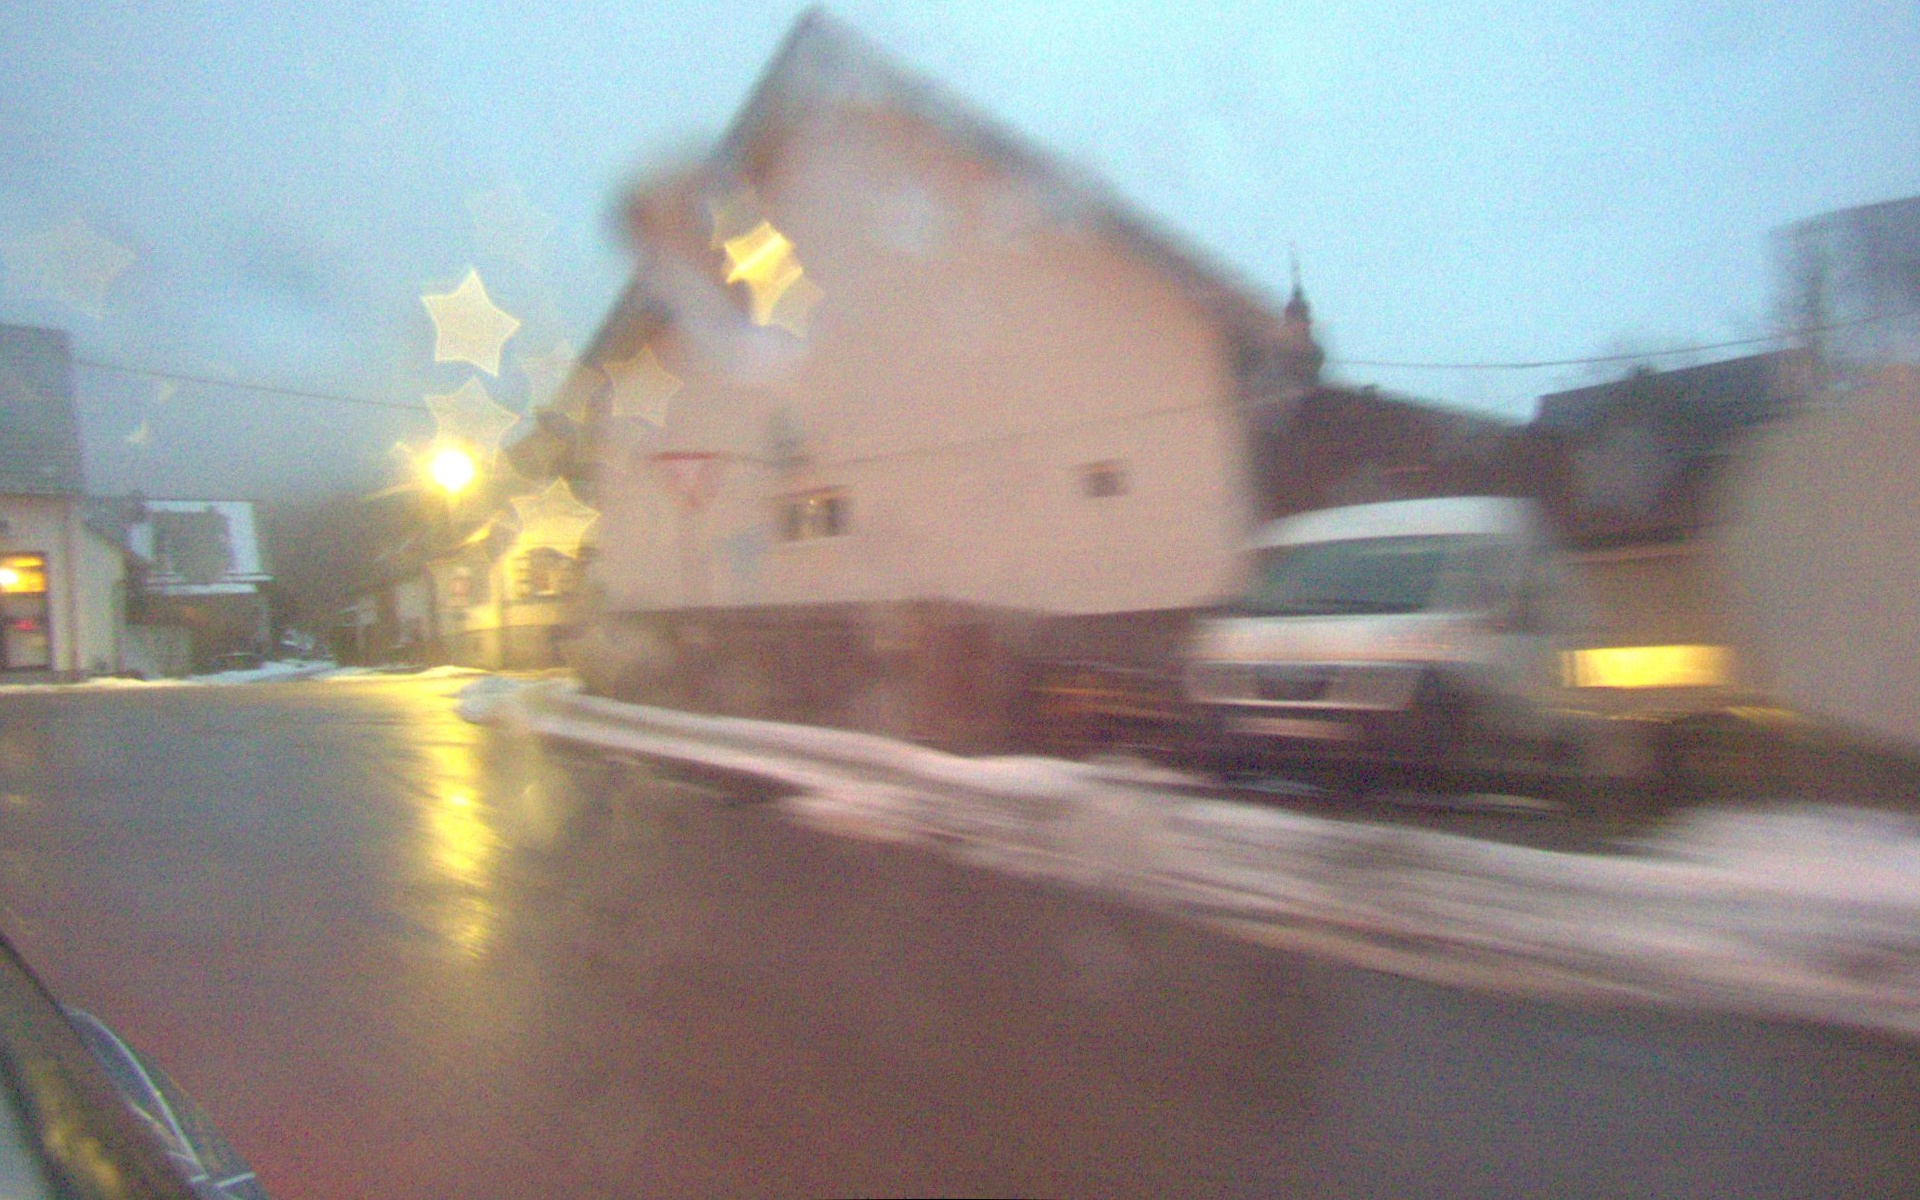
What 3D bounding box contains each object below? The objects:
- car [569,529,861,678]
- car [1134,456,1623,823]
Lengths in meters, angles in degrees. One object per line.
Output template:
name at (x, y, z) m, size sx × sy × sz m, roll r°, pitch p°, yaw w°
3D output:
car at (-5.576, 0.123, 23.150) m, size 6.055 × 2.572 × 1.992 m, roll -7°, pitch -2°, yaw 13°
car at (3.731, 0.119, 8.295) m, size 2.213 × 2.028 × 5.207 m, roll 1°, pitch 3°, yaw 40°
